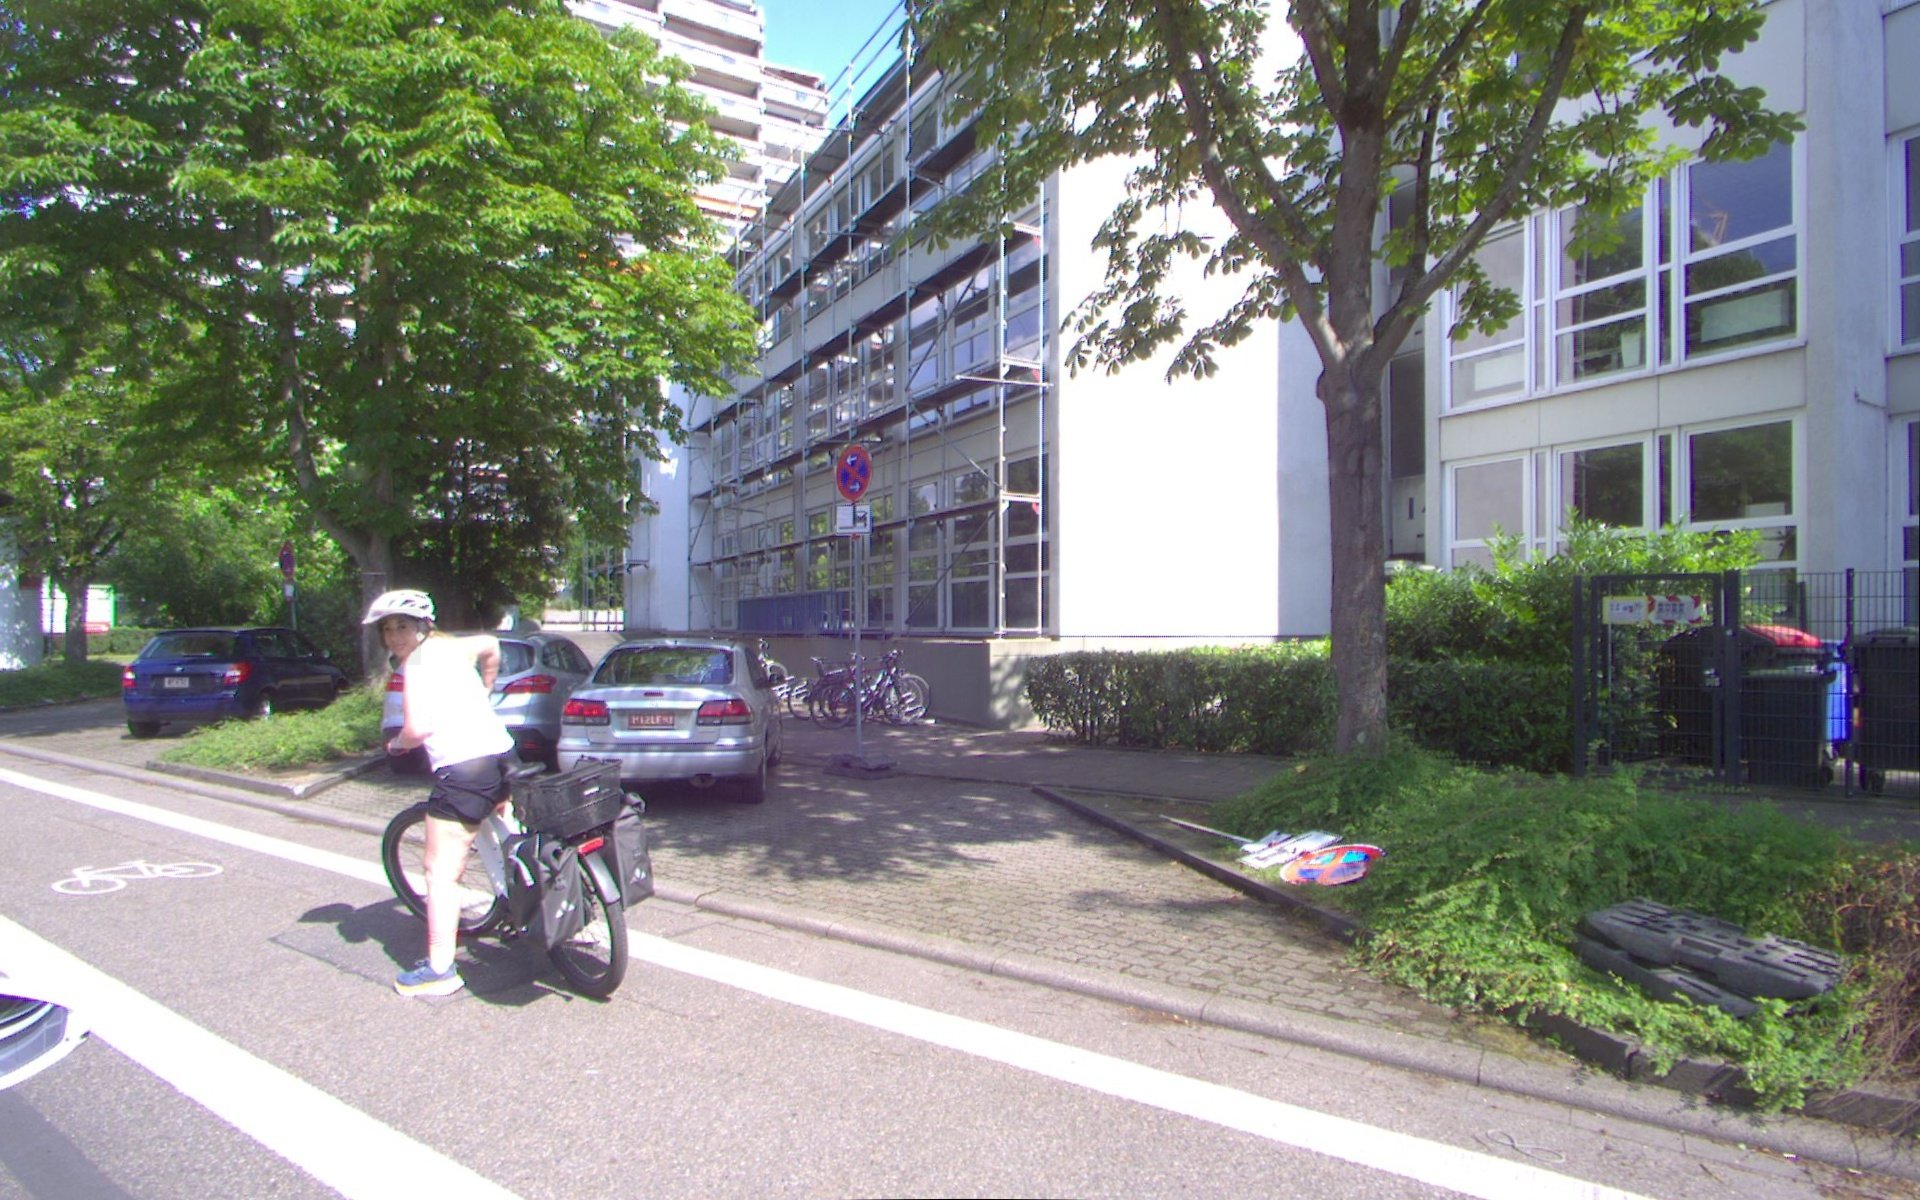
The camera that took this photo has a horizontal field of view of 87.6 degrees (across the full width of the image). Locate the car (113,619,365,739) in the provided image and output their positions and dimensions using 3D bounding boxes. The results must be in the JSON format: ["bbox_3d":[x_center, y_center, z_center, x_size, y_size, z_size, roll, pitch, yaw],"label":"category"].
[{"bbox_3d":[-10.651,1.069,15.169,1.586,1.505,3.996,-1,0,-12],"label":"car"}]

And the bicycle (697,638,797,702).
[{"bbox_3d":[-4.013,1.305,18.901,1.804,1.111,0.449,0,3,-26],"label":"bicycle"}]

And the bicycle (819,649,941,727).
[{"bbox_3d":[-1.247,1.353,15.718,1.872,1.110,0.449,0,1,-26],"label":"bicycle"}]

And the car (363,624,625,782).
[{"bbox_3d":[-5.110,1.071,11.545,1.621,1.493,3.805,2,-2,-8],"label":"car"}]

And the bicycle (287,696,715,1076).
[{"bbox_3d":[-2.083,1.061,4.391,2.110,1.140,0.871,-1,-2,40],"label":"bicycle"}]

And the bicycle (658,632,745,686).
[{"bbox_3d":[-5.665,1.279,21.998,1.804,1.110,0.449,0,0,-26],"label":"bicycle"}]

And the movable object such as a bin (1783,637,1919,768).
[{"bbox_3d":[10.529,1.141,11.694,1.201,1.356,1.252,-1,1,-41],"label":"movable object such as a bin"}]

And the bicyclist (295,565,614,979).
[{"bbox_3d":[-2.242,0.673,4.444,1.072,1.548,0.886,-1,-3,40],"label":"bicyclist"}]

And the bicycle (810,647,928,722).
[{"bbox_3d":[-1.458,1.341,16.171,1.872,1.110,0.449,0,1,-26],"label":"bicycle"}]

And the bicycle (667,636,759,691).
[{"bbox_3d":[-5.151,1.304,20.927,1.804,1.110,0.449,1,0,-26],"label":"bicycle"}]

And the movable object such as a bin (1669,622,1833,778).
[{"bbox_3d":[8.228,1.001,10.424,1.250,1.500,0.933,2,-1,-29],"label":"movable object such as a bin"}]

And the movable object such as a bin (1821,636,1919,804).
[{"bbox_3d":[8.274,1.003,8.530,1.219,1.352,1.273,-1,-3,32],"label":"movable object such as a bin"}]

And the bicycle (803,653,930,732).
[{"bbox_3d":[-1.400,1.373,15.115,1.872,1.067,0.449,0,1,-26],"label":"bicycle"}]

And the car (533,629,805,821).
[{"bbox_3d":[-2.560,1.029,9.840,1.690,1.438,4.244,1,-1,-4],"label":"car"}]
